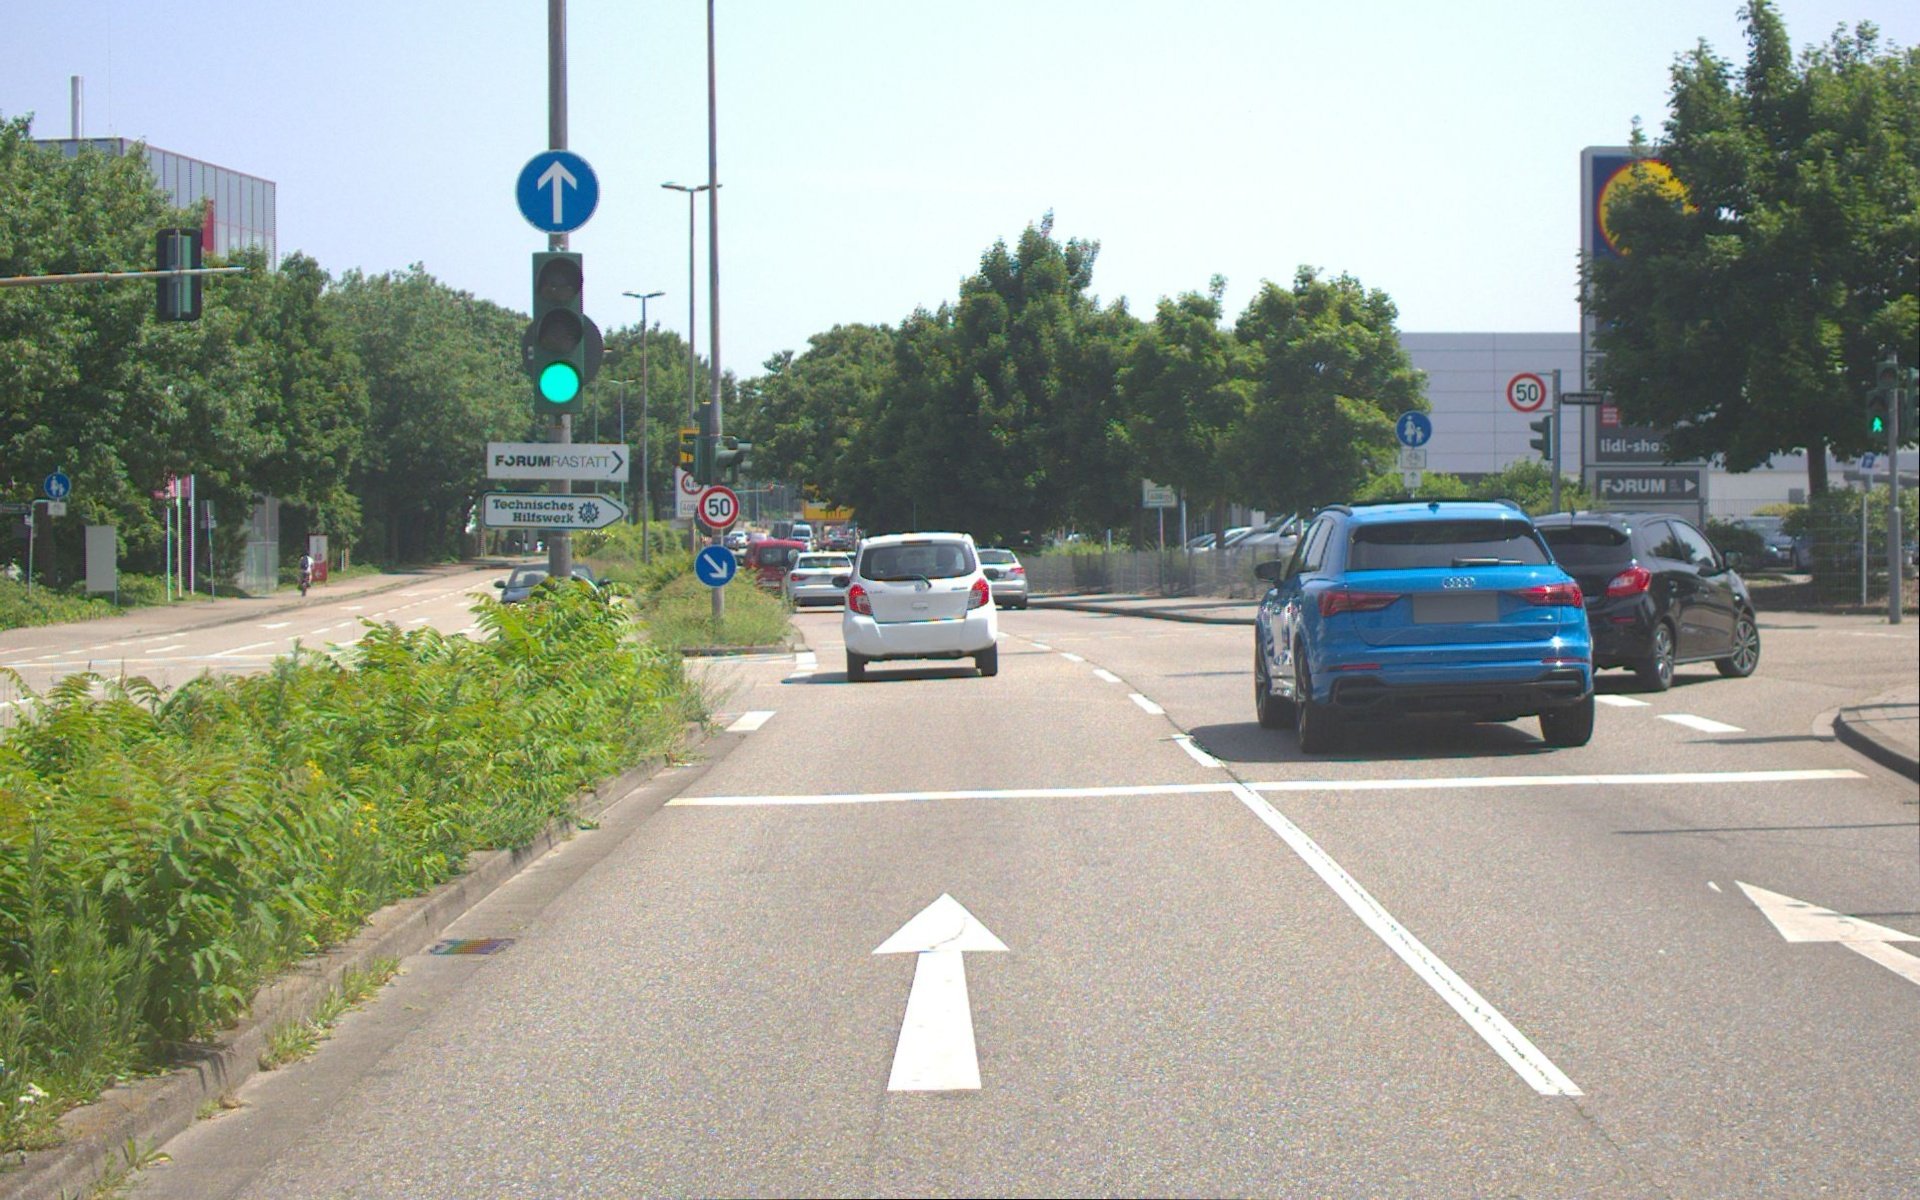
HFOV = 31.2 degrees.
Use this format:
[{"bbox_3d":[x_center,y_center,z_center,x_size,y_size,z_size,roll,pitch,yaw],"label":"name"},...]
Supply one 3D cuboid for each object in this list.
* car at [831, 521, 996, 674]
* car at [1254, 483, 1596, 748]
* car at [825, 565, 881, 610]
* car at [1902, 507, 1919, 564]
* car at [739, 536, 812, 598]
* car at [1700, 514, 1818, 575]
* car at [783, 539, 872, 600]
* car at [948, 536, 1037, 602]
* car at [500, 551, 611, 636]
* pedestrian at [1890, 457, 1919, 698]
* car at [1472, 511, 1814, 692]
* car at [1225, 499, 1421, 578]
[{"bbox_3d":[-0.543,-0.049,37.089,1.638,1.546,3.325,-1,1,-3],"label":"car"},{"bbox_3d":[3.030,0.048,23.221,1.809,1.587,4.349,-1,1,2],"label":"car"},{"bbox_3d":[-3.376,-0.408,107.933,1.441,1.343,3.461,-2,1,-7],"label":"car"},{"bbox_3d":[24.708,-1.631,85.795,1.264,1.415,2.958,-2,1,-7],"label":"car"},{"bbox_3d":[-5.019,-0.926,93.877,1.884,1.603,4.001,-1,1,-2],"label":"car"},{"bbox_3d":[19.123,-1.329,82.455,1.621,1.389,3.718,-1,1,-6],"label":"car"},{"bbox_3d":[-3.123,-0.720,80.459,1.884,1.349,4.001,1,1,-5],"label":"car"},{"bbox_3d":[0.731,-0.714,79.463,1.865,1.468,4.000,1,1,-2],"label":"car"},{"bbox_3d":[-6.691,-0.129,56.993,1.729,1.319,4.150,-2,1,-6],"label":"car"},{"bbox_3d":[6.853,-0.147,23.271,0.828,1.620,1.005,0,-1,-1],"label":"pedestrian"},{"bbox_3d":[5.765,-0.019,28.757,1.618,1.396,3.425,-1,1,33],"label":"car"},{"bbox_3d":[9.087,-1.539,86.274,4.616,1.918,1.827,-1,1,-5],"label":"car"}]
